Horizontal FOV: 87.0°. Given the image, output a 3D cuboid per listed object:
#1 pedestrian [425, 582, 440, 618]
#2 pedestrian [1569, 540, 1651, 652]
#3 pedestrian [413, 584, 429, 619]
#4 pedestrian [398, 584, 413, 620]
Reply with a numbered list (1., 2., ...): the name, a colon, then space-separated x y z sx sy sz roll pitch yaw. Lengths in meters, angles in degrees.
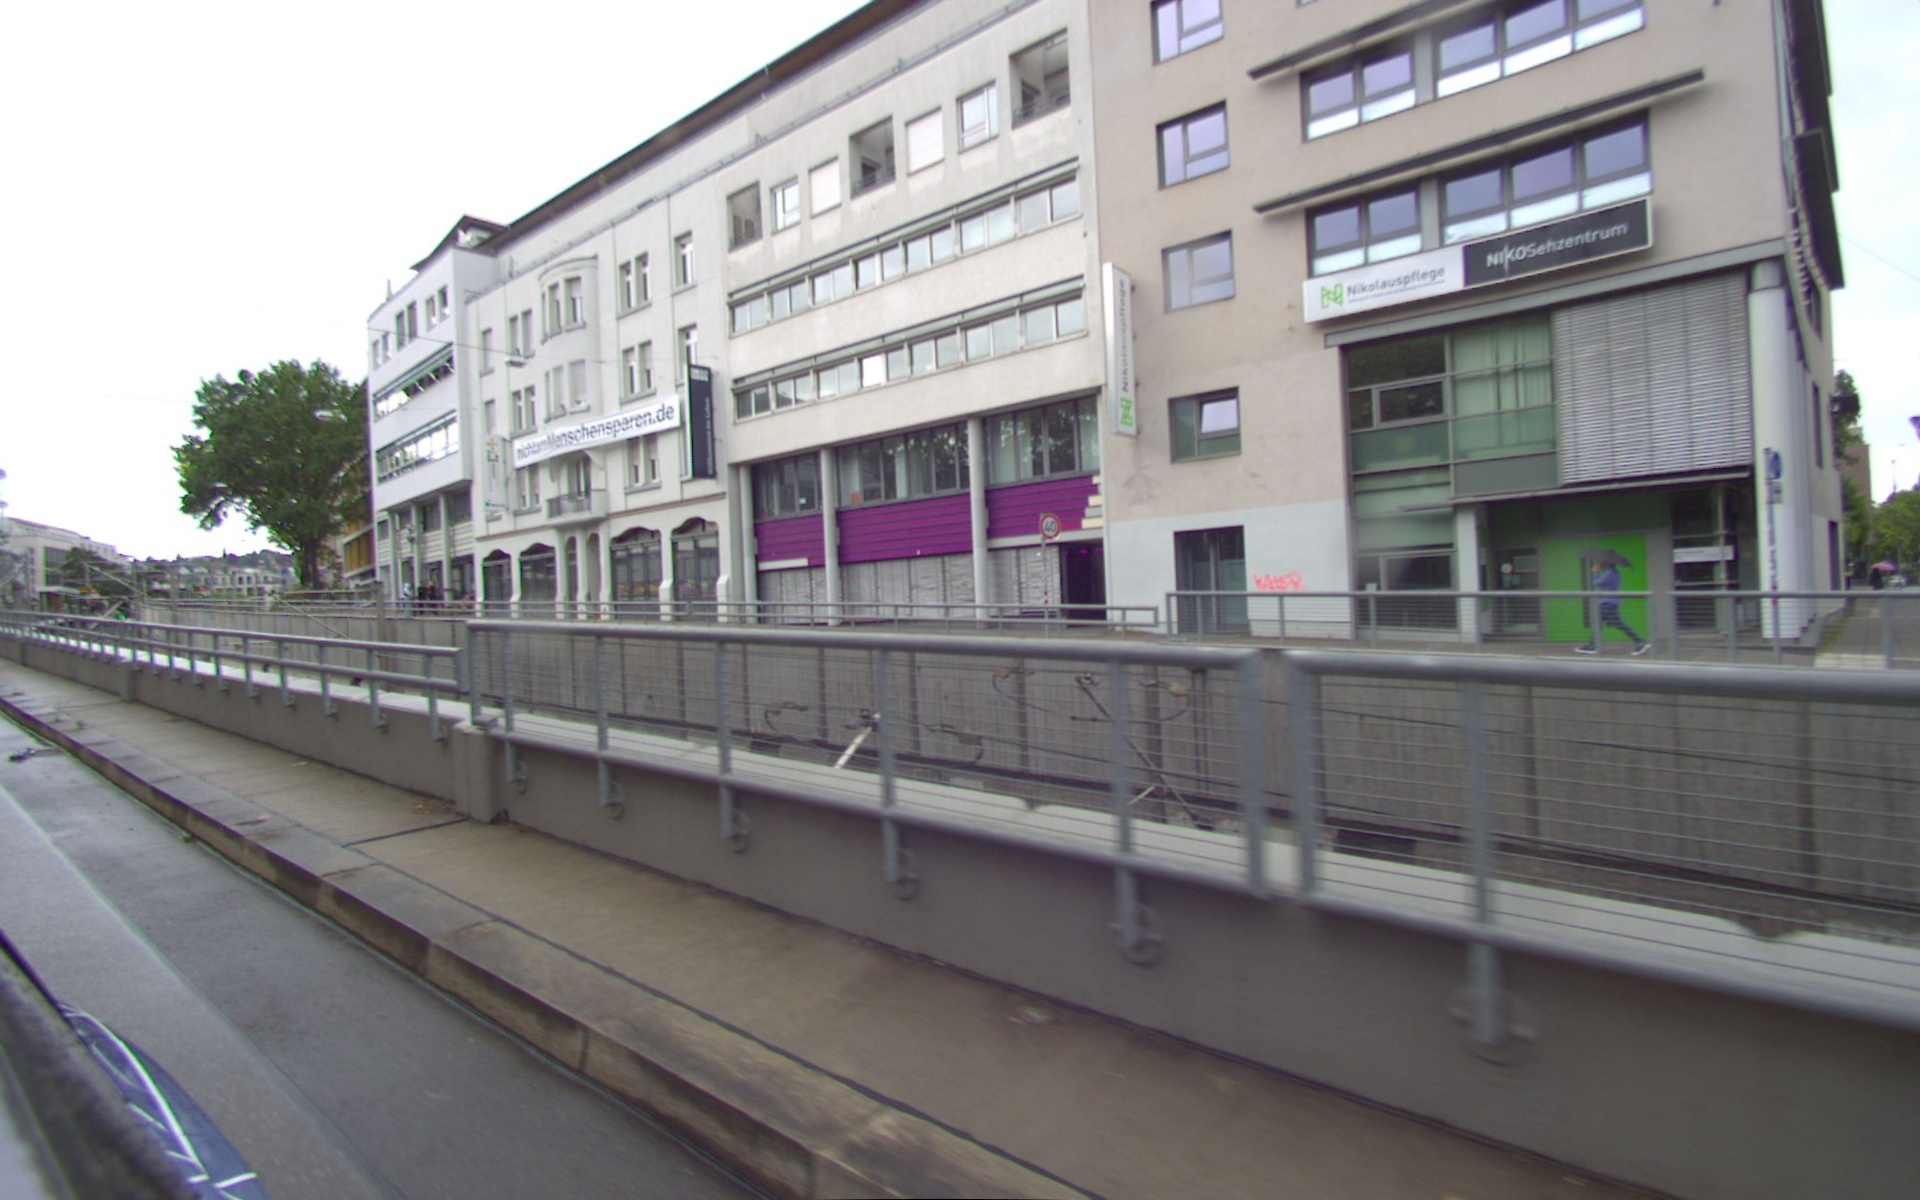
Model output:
1. pedestrian: -27.082 -0.006 51.993 0.547 1.816 0.463 -1 1 44
2. pedestrian: 11.166 -0.073 17.378 1.059 1.852 0.848 -1 1 41
3. pedestrian: -28.096 0.080 52.743 0.469 1.816 0.541 -1 1 33
4. pedestrian: -28.530 0.082 52.068 0.463 1.816 0.548 -3 2 -42
